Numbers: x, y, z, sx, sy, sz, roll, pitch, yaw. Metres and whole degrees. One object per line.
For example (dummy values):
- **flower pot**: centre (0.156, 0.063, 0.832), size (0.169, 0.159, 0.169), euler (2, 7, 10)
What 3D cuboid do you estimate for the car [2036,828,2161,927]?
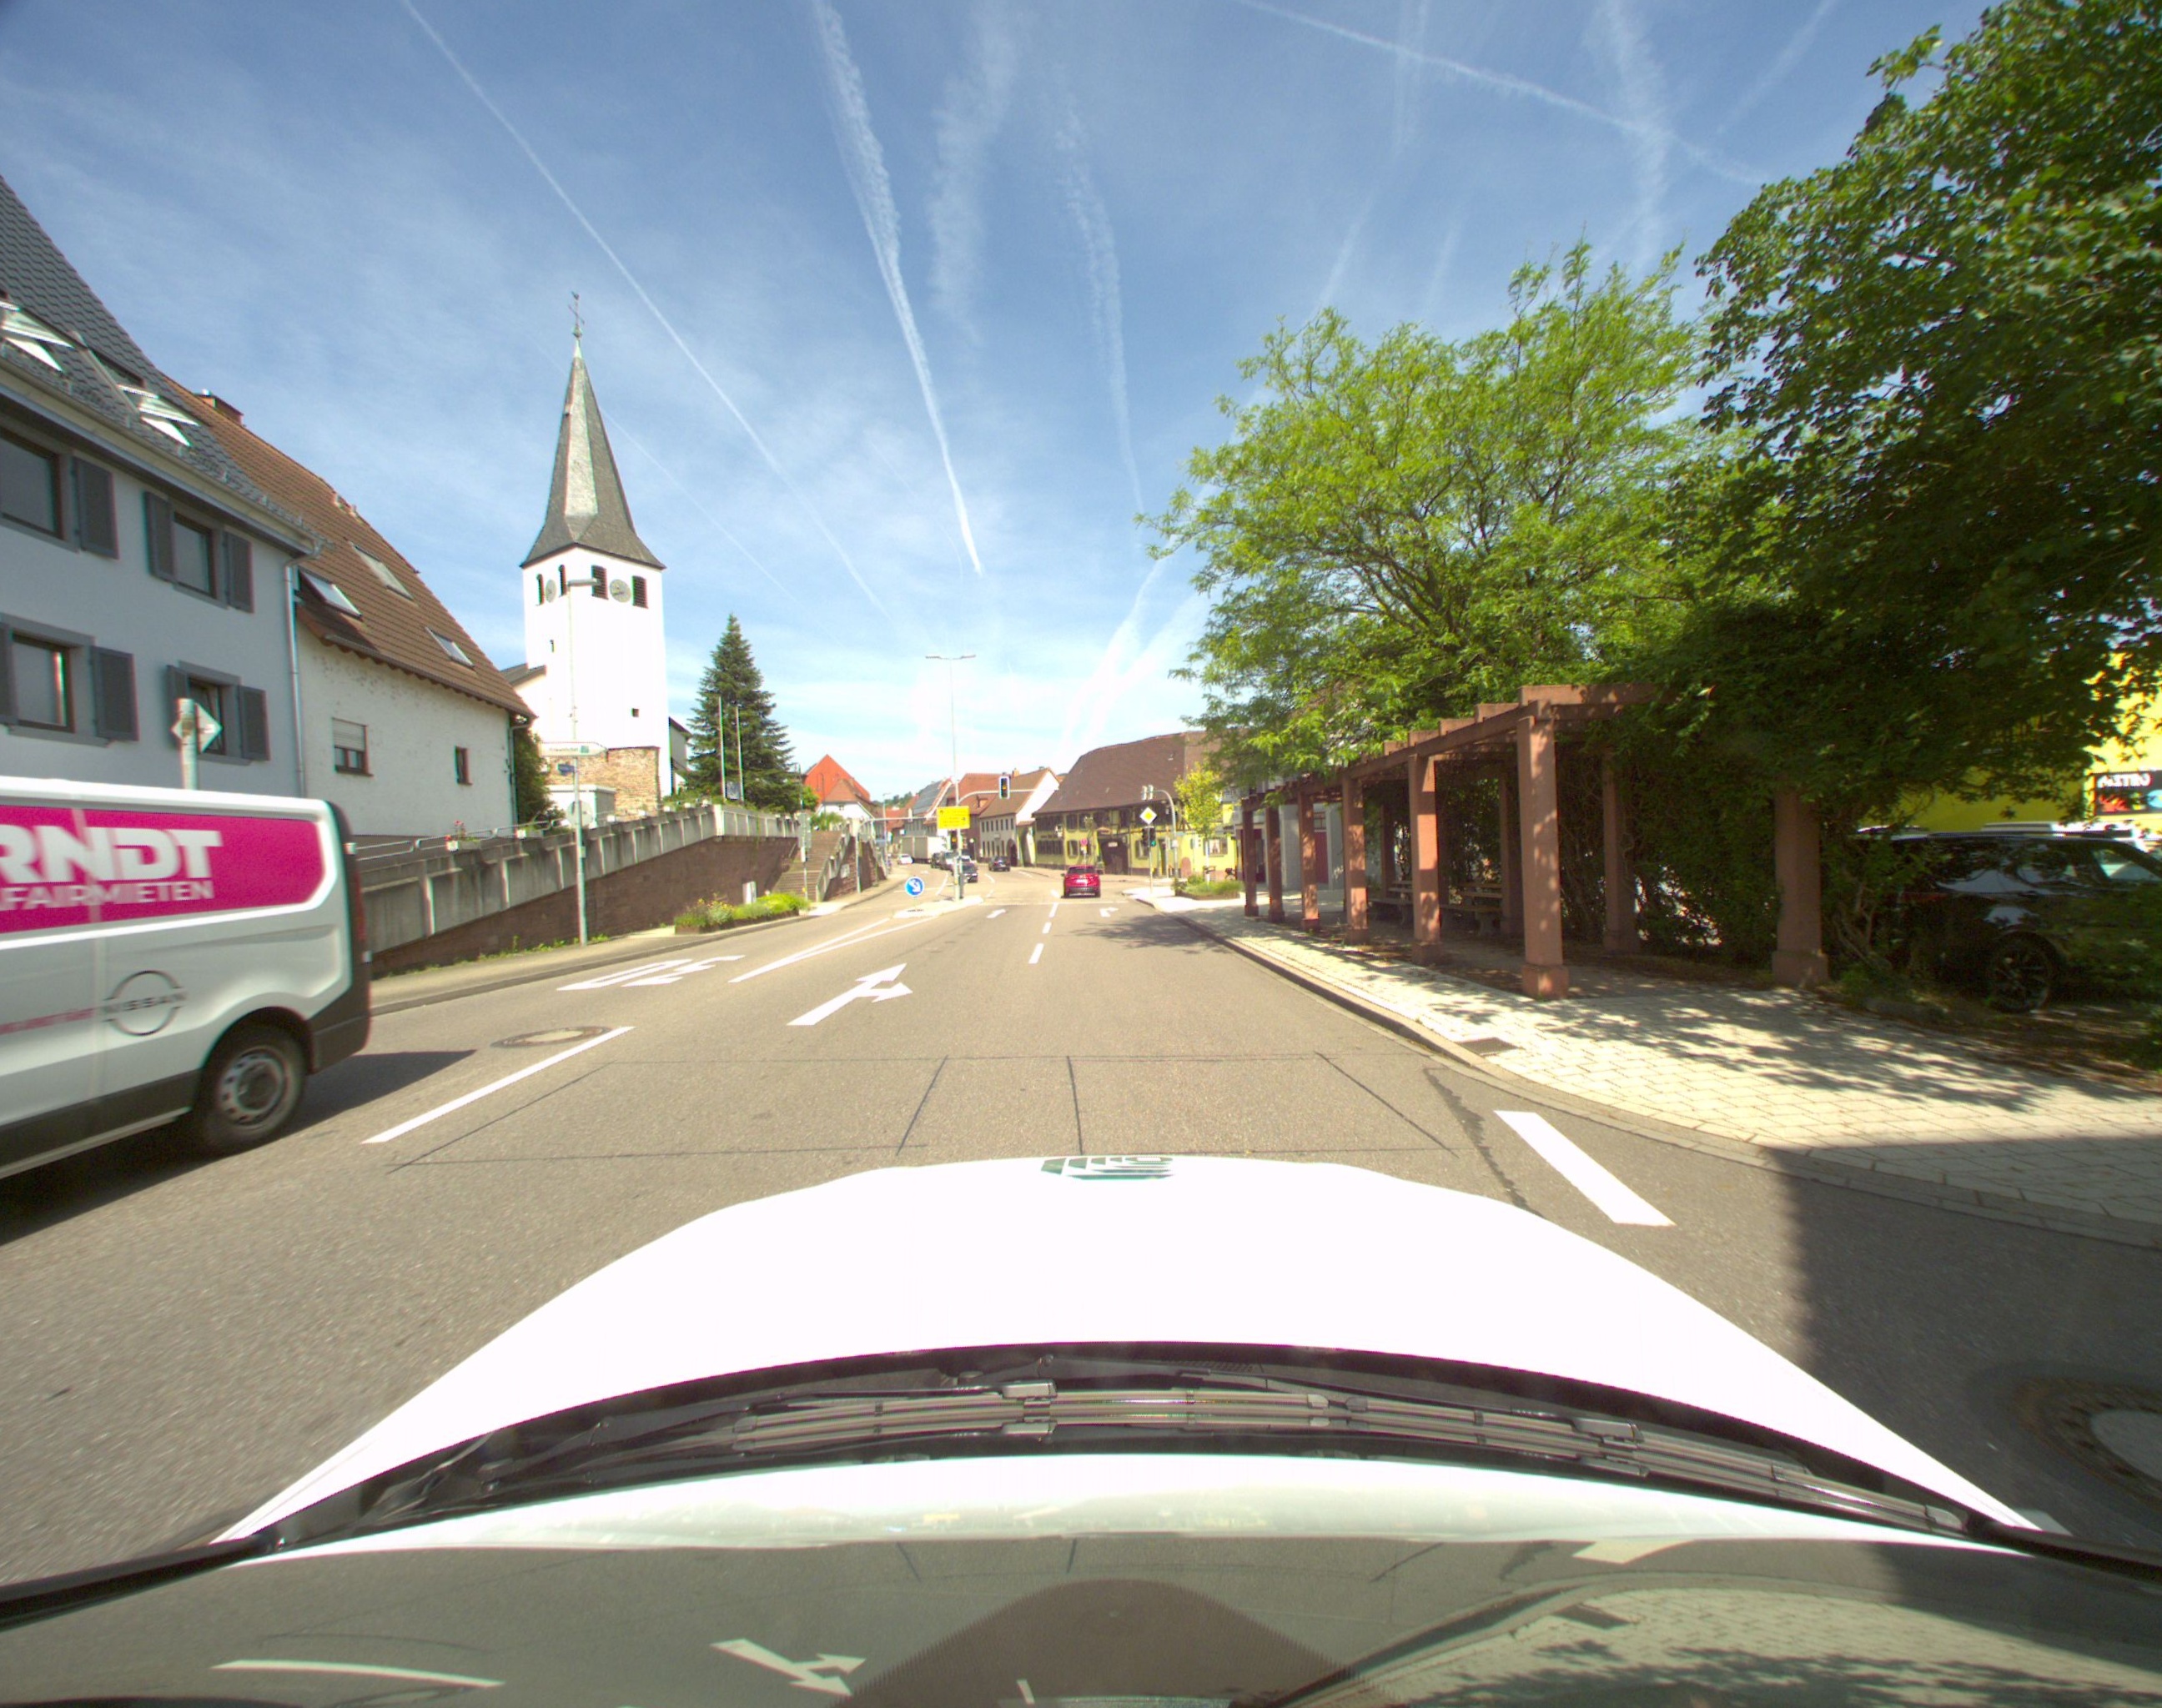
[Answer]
- **car**: centre (19.643, 0.333, 14.251), size (3.964, 1.611, 1.754), euler (-2, -1, -4)

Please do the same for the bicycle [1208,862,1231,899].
- **bicycle**: centre (5.298, 0.997, 31.234), size (0.527, 1.279, 1.993), euler (-5, 0, 3)

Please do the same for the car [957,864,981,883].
- **car**: centre (-9.337, 1.605, 67.644), size (1.820, 1.434, 4.235), euler (-2, 0, -9)

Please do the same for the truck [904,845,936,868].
- **truck**: centre (-25.832, 0.480, 130.264), size (3.172, 3.460, 10.632), euler (0, -1, -22)

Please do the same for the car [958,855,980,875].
- **car**: centre (-11.352, 1.078, 82.240), size (1.822, 1.906, 4.944), euler (-2, 1, -12)

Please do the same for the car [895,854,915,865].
- **car**: centre (-26.328, 0.754, 121.825), size (1.796, 1.526, 3.969), euler (-3, 1, -28)

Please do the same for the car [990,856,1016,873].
- **car**: centre (-8.316, 1.080, 86.866), size (1.826, 1.738, 3.979), euler (-3, 1, -19)

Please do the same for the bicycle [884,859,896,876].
- **bicycle**: centre (-20.648, 1.424, 88.158), size (0.639, 1.779, 2.670), euler (0, 0, 0)

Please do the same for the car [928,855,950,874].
- **car**: centre (-17.330, 1.224, 99.335), size (1.764, 2.246, 4.520), euler (0, 0, -22)

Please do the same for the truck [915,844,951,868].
- **truck**: centre (-22.080, 0.286, 121.130), size (3.237, 3.549, 9.159), euler (0, 0, -23)

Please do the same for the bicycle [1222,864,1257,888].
- **bicycle**: centre (9.042, 1.247, 46.503), size (1.798, 1.234, 0.549), euler (-3, 0, -1)

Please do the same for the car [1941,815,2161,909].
- **car**: centre (20.647, 0.132, 16.715), size (4.166, 1.740, 1.881), euler (-2, -1, -4)

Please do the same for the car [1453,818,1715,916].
- **car**: centre (10.515, 0.267, 17.213), size (4.472, 1.544, 1.723), euler (-5, -1, -4)

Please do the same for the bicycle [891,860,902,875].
- **bicycle**: centre (-19.886, 1.467, 87.837), size (0.556, 1.607, 2.562), euler (0, 0, 0)

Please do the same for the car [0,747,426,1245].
- **car**: centre (-5.164, 0.592, 2.716), size (1.966, 1.933, 5.303), euler (-3, 0, -6)

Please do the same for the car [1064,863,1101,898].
- **car**: centre (0.042, 1.310, 41.320), size (1.799, 1.663, 3.810), euler (0, 0, -1)

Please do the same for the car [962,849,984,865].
- **car**: centre (-13.828, 0.374, 104.367), size (1.854, 2.013, 3.971), euler (0, 0, -22)
